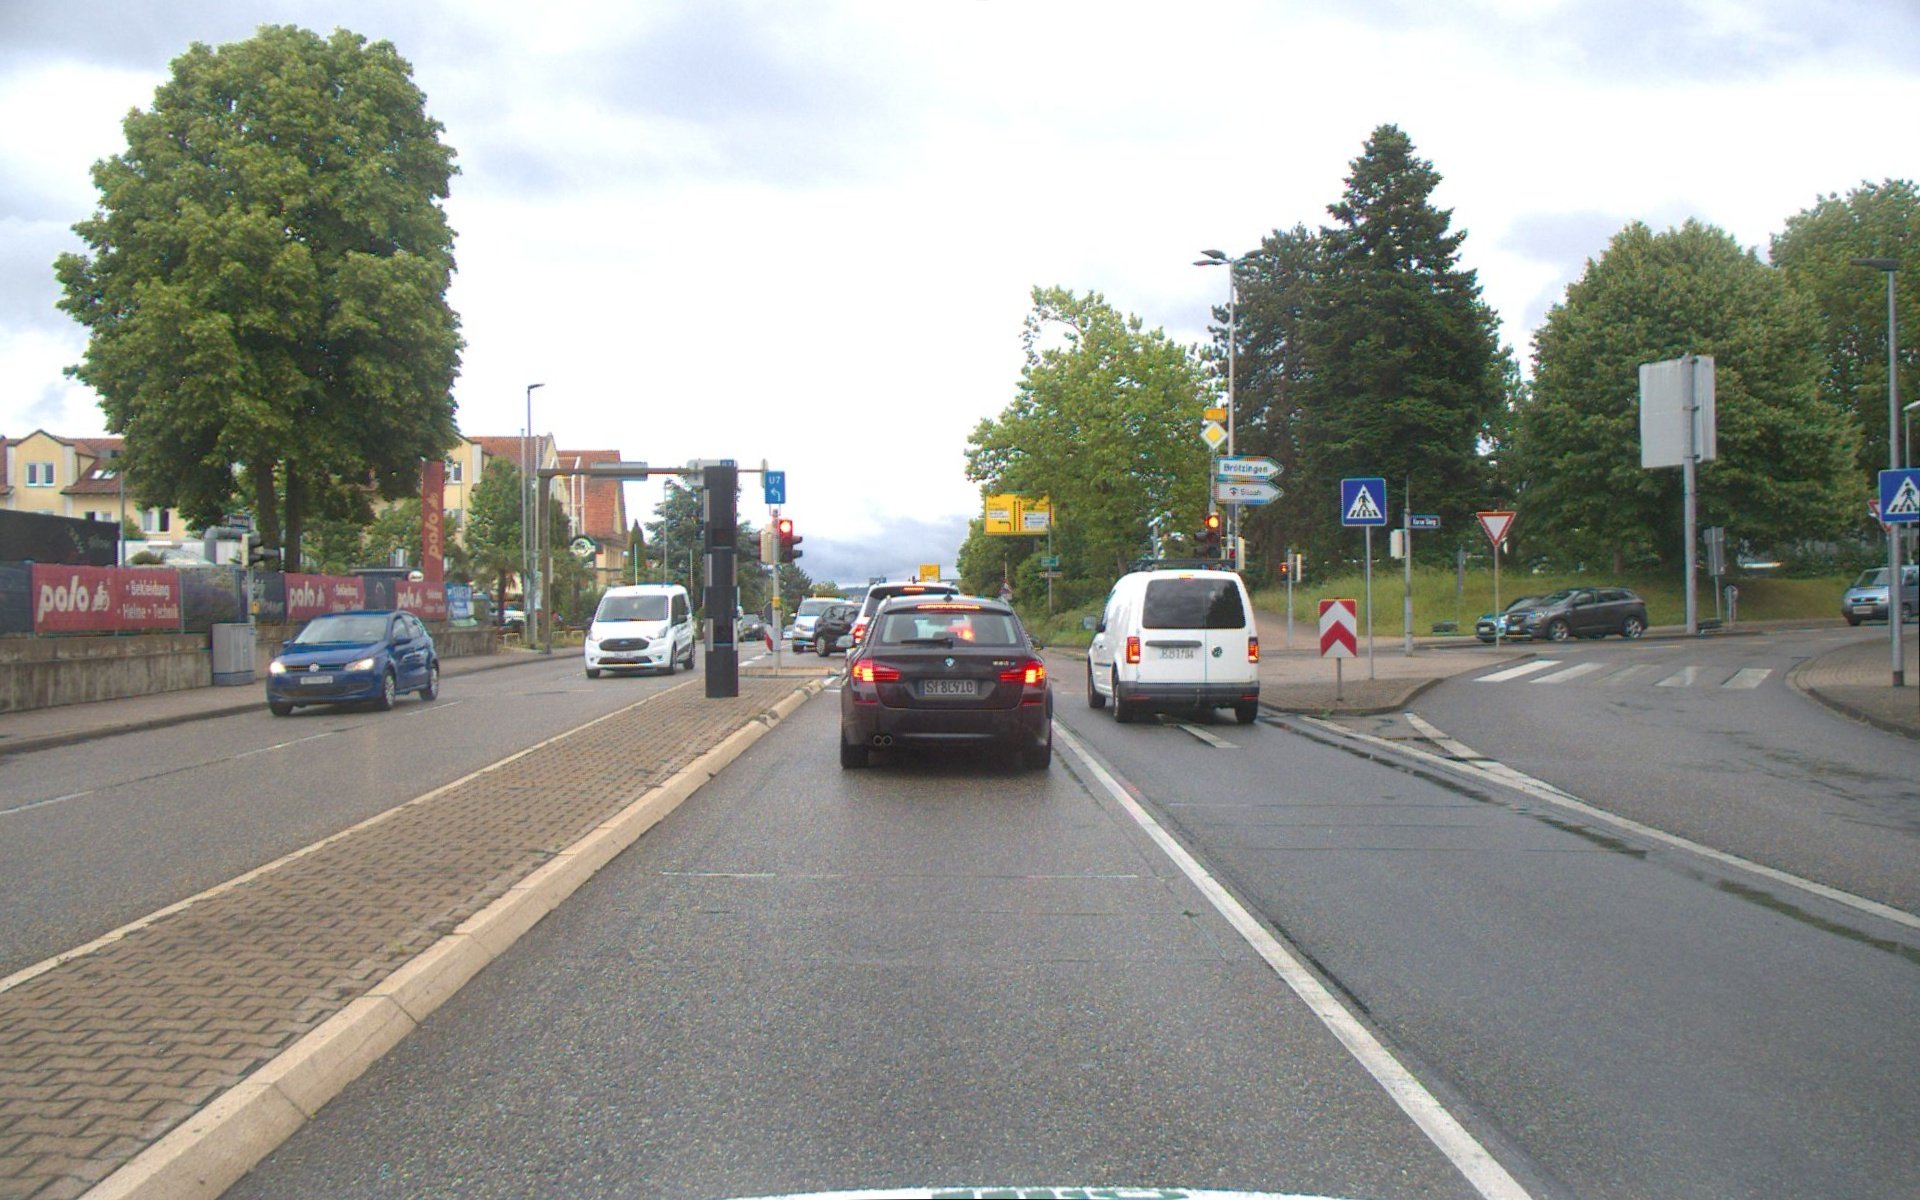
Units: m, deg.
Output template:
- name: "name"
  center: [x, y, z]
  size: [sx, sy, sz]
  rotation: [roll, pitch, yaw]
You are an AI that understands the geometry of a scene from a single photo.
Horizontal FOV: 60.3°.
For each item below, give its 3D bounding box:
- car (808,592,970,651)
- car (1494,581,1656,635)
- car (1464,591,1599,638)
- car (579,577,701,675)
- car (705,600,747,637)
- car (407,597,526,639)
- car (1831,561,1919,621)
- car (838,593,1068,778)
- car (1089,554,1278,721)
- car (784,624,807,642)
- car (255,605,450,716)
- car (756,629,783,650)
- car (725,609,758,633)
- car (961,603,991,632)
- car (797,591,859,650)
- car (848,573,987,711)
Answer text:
- name: "car"
  center: [-1.906, 0.555, 44.075]
  size: [4.014, 1.481, 1.894]
  rotation: [0, 0, 35]
- name: "car"
  center: [18.314, 0.212, 49.279]
  size: [4.246, 1.492, 1.893]
  rotation: [-1, 0, -16]
- name: "car"
  center: [18.195, 0.450, 52.702]
  size: [3.928, 1.316, 1.600]
  rotation: [-2, 1, -20]
- name: "car"
  center: [-6.663, 0.512, 34.885]
  size: [1.820, 1.855, 4.577]
  rotation: [-2, 0, -3]
- name: "car"
  center: [-11.542, 0.887, 81.795]
  size: [1.634, 1.699, 3.681]
  rotation: [-1, 0, -2]
- name: "car"
  center: [-19.193, 0.680, 64.333]
  size: [4.147, 1.481, 1.783]
  rotation: [-1, 0, -29]
- name: "car"
  center: [31.403, -0.349, 55.190]
  size: [4.673, 1.883, 1.883]
  rotation: [-1, 2, -28]
- name: "car"
  center: [-0.009, 0.669, 15.107]
  size: [1.816, 1.444, 3.957]
  rotation: [1, 0, 1]
- name: "car"
  center: [2.731, 0.410, 21.039]
  size: [1.706, 1.902, 3.944]
  rotation: [1, 1, -2]
- name: "car"
  center: [-13.492, 2.689, 136.145]
  size: [1.634, 1.377, 3.441]
  rotation: [-1, 0, -2]
- name: "car"
  center: [-8.962, 0.836, 24.705]
  size: [1.601, 1.406, 3.763]
  rotation: [-2, 1, -2]
- name: "car"
  center: [-13.662, 2.808, 118.740]
  size: [1.634, 1.377, 3.441]
  rotation: [-1, 0, -2]
- name: "car"
  center: [-13.197, 1.245, 100.003]
  size: [1.634, 1.377, 3.441]
  rotation: [-1, 0, -2]
- name: "car"
  center: [0.873, 0.954, 90.753]
  size: [1.567, 1.395, 3.681]
  rotation: [-1, 2, 0]
- name: "car"
  center: [-4.041, 0.613, 51.160]
  size: [1.700, 1.721, 3.998]
  rotation: [-1, 0, -2]
- name: "car"
  center: [-0.514, 0.520, 22.721]
  size: [1.692, 1.741, 3.383]
  rotation: [1, 0, 2]
